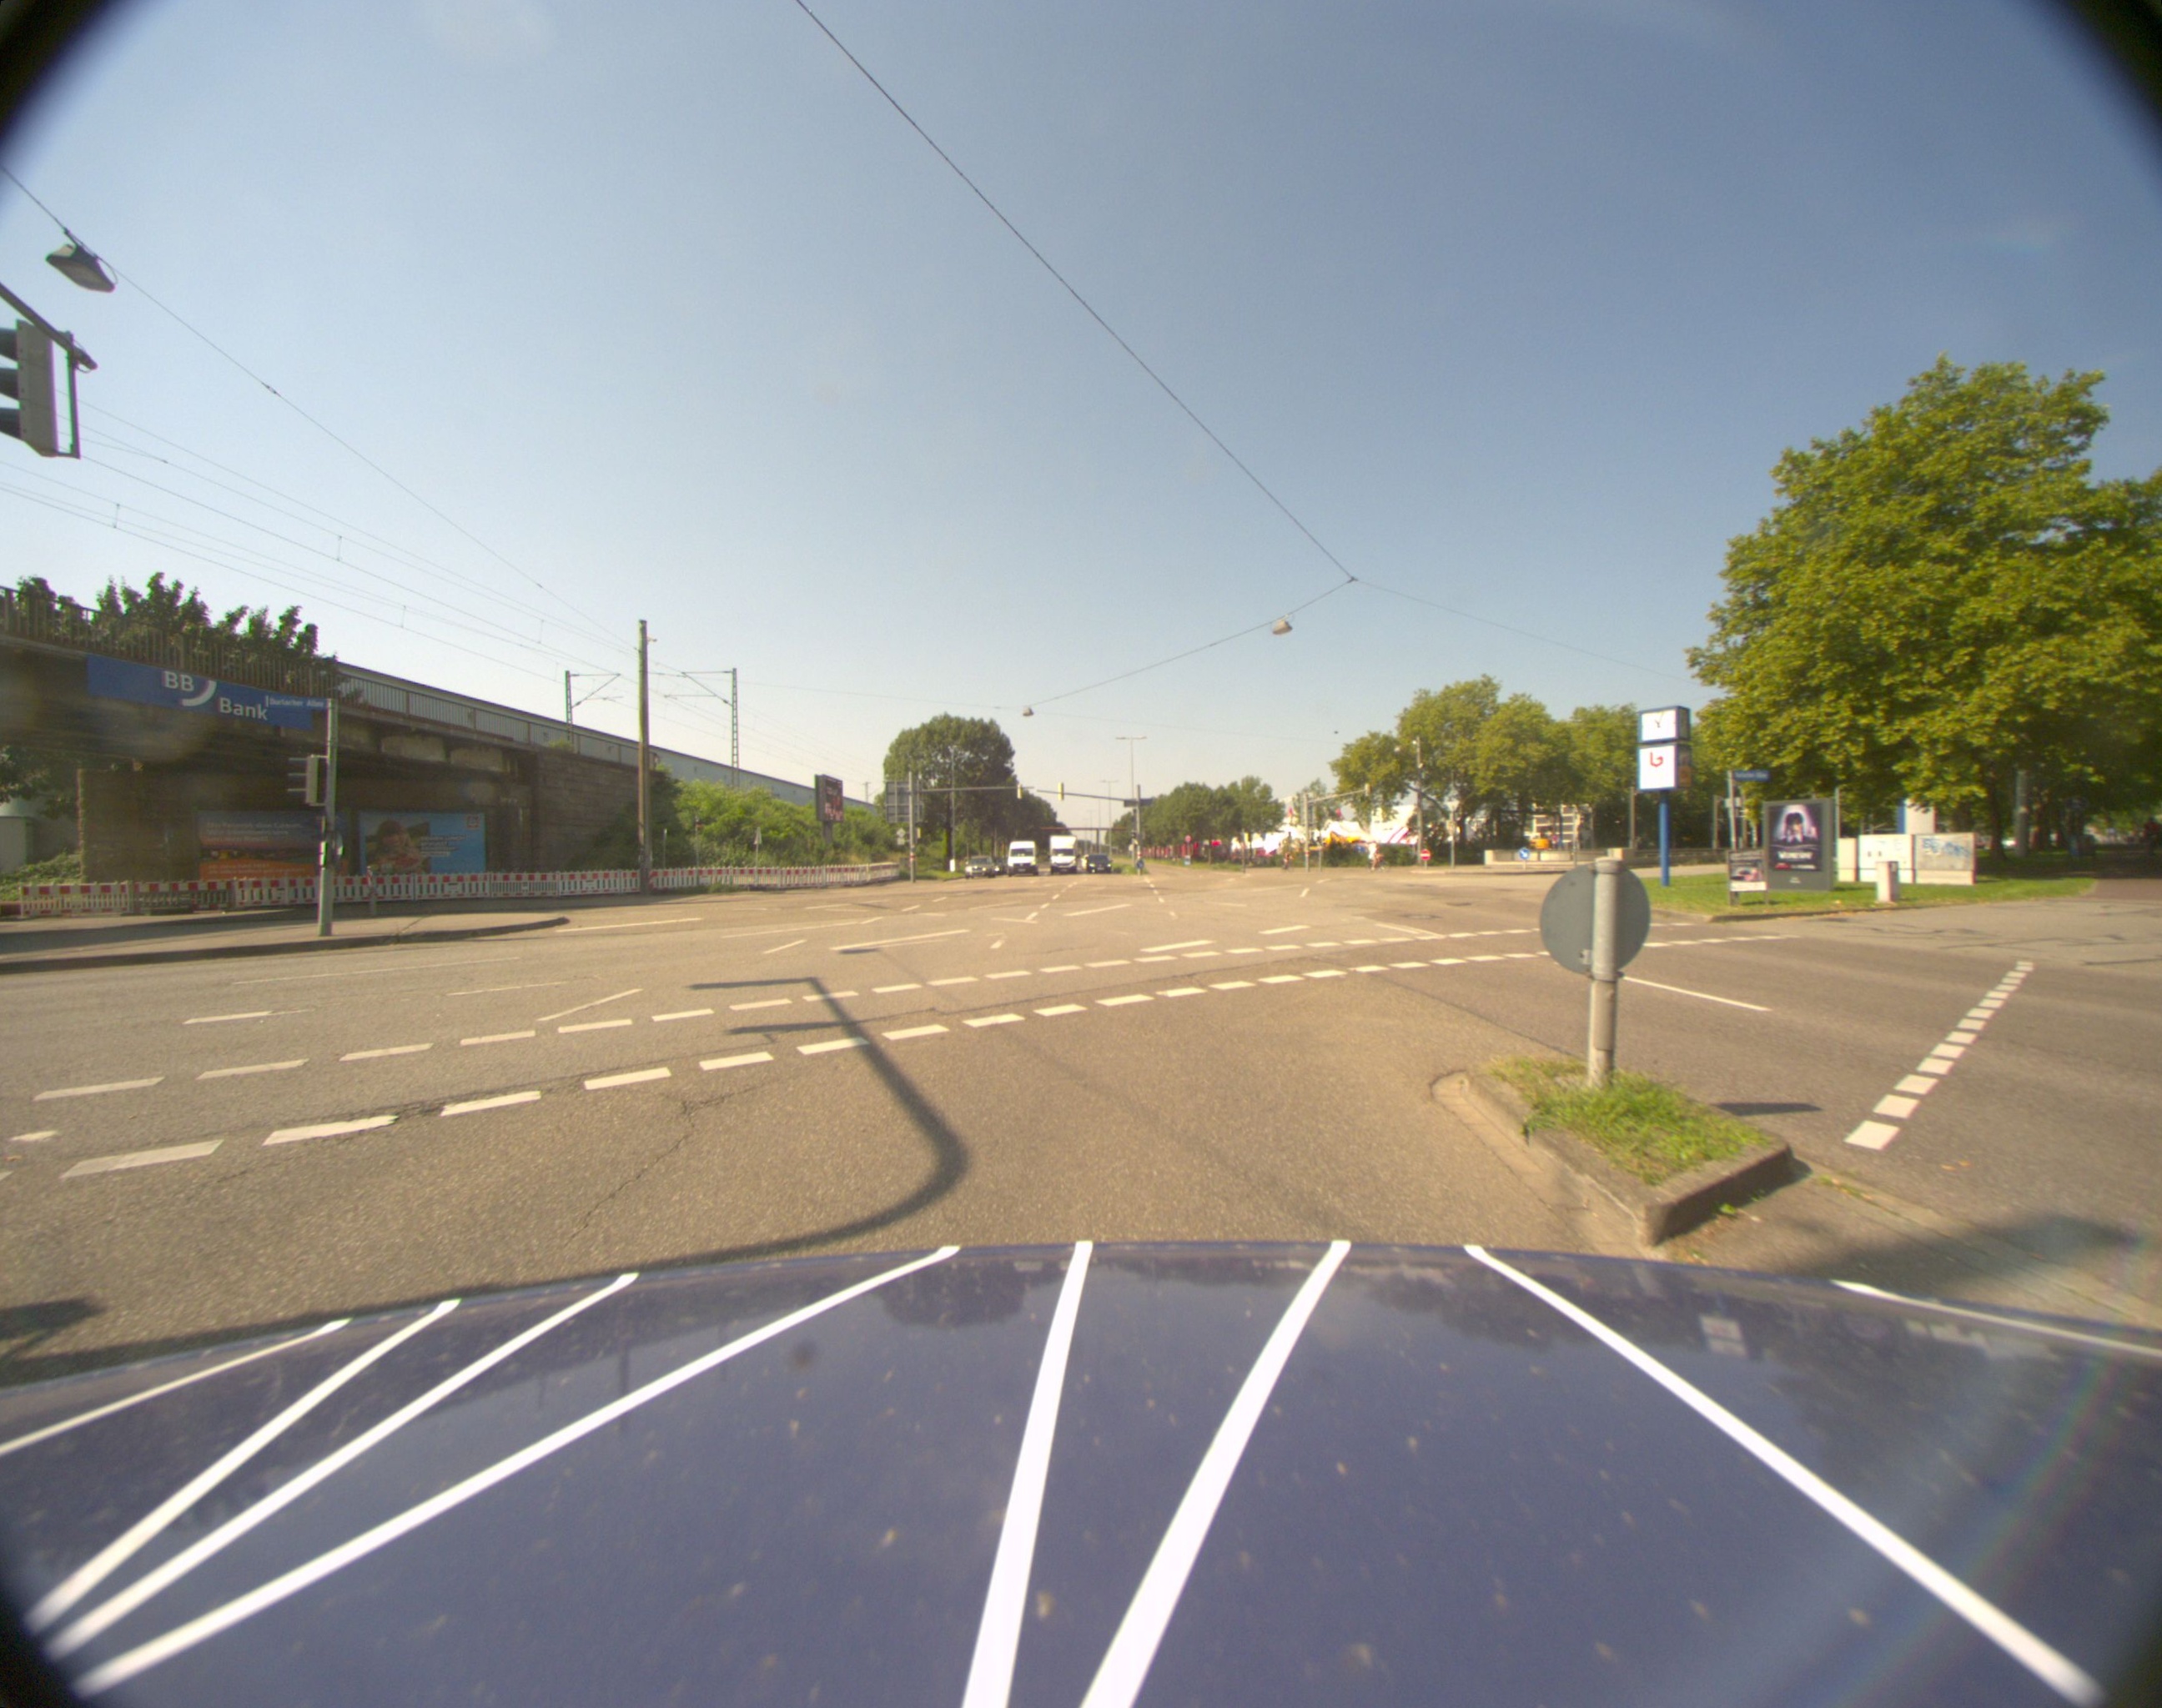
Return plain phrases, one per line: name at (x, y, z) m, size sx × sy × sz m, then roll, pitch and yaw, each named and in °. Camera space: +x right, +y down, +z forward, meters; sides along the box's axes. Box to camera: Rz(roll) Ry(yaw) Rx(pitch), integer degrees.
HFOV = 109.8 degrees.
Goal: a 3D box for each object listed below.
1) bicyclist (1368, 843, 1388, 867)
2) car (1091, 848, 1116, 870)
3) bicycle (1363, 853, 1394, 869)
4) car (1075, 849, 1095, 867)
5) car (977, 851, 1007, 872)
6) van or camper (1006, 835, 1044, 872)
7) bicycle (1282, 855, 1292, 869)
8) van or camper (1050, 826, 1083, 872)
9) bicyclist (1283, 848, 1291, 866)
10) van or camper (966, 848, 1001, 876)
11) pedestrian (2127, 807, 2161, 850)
bicyclist at (19.806, 0.082, 50.633) m, size 0.598 × 1.584 × 1.204 m, roll -2°, pitch -1°, yaw -12°
car at (1.814, 0.454, 61.709) m, size 1.905 × 1.603 × 5.197 m, roll -3°, pitch -2°, yaw 1°
bicycle at (19.825, 0.478, 50.655) m, size 0.773 × 1.081 × 2.218 m, roll -2°, pitch -1°, yaw -12°
car at (0.422, 0.387, 76.223) m, size 1.655 × 1.654 × 3.757 m, roll -3°, pitch -2°, yaw 4°
car at (-7.008, 0.566, 60.050) m, size 1.999 × 1.543 × 3.998 m, roll -3°, pitch 1°, yaw -3°
van or camper at (-4.093, 0.044, 56.575) m, size 2.248 × 2.467 × 6.867 m, roll -3°, pitch -2°, yaw -1°
bicycle at (15.783, 0.592, 58.075) m, size 0.571 × 1.049 × 1.496 m, roll -3°, pitch -1°, yaw 20°
van or camper at (-1.086, -0.304, 60.919) m, size 2.248 × 3.341 × 6.853 m, roll -3°, pitch -2°, yaw 1°
bicyclist at (15.748, 0.247, 58.082) m, size 0.502 × 1.356 × 0.698 m, roll -3°, pitch -1°, yaw 21°
van or camper at (-6.850, 0.603, 53.544) m, size 1.850 × 1.765 × 4.175 m, roll -3°, pitch -2°, yaw 0°
pedestrian at (51.693, -1.247, 36.881) m, size 1.351 × 2.001 × 0.947 m, roll -2°, pitch -1°, yaw -35°
